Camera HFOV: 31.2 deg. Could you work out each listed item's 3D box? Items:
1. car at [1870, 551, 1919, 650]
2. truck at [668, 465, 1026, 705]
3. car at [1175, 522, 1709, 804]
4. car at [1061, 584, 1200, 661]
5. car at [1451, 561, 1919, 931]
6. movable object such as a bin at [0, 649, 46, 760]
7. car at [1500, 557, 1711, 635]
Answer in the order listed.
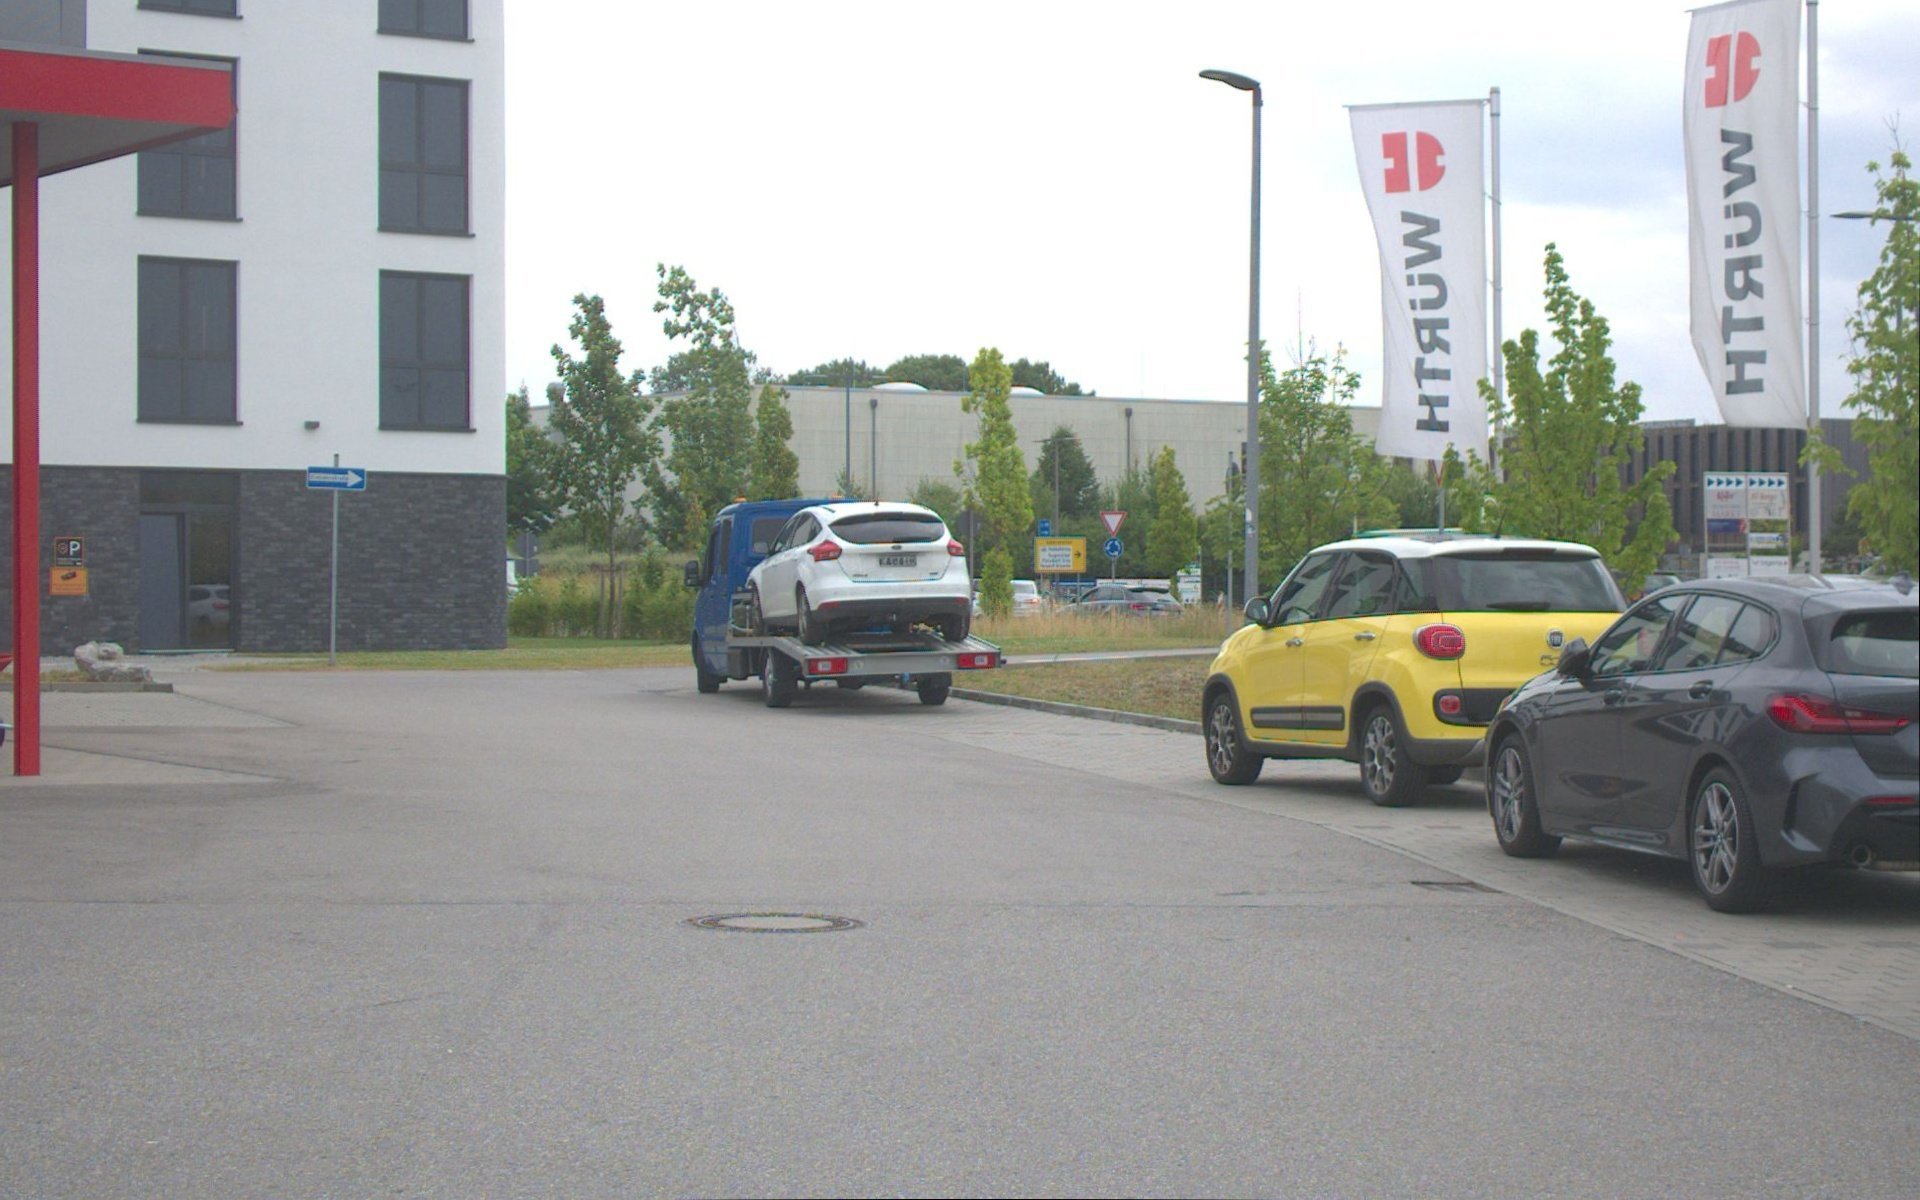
[{"bbox_3d":[14.746,0.020,47.994,1.762,1.390,4.560,0,1,-18],"label":"car"},{"bbox_3d":[-1.445,-0.194,38.505,2.331,2.398,7.899,0,1,-15],"label":"truck"},{"bbox_3d":[3.000,0.373,22.300,1.856,1.644,4.001,1,0,-18],"label":"car"},{"bbox_3d":[4.350,0.563,88.257,1.993,1.853,4.001,-2,1,-22],"label":"car"},{"bbox_3d":[3.755,0.567,15.921,1.751,1.464,4.108,0,1,-9],"label":"car"},{"bbox_3d":[-6.854,0.677,22.481,1.488,0.701,0.965,1,0,-29],"label":"movable object such as a bin"},{"bbox_3d":[13.070,-0.103,69.890,1.924,1.481,4.421,-2,1,-26],"label":"car"}]
